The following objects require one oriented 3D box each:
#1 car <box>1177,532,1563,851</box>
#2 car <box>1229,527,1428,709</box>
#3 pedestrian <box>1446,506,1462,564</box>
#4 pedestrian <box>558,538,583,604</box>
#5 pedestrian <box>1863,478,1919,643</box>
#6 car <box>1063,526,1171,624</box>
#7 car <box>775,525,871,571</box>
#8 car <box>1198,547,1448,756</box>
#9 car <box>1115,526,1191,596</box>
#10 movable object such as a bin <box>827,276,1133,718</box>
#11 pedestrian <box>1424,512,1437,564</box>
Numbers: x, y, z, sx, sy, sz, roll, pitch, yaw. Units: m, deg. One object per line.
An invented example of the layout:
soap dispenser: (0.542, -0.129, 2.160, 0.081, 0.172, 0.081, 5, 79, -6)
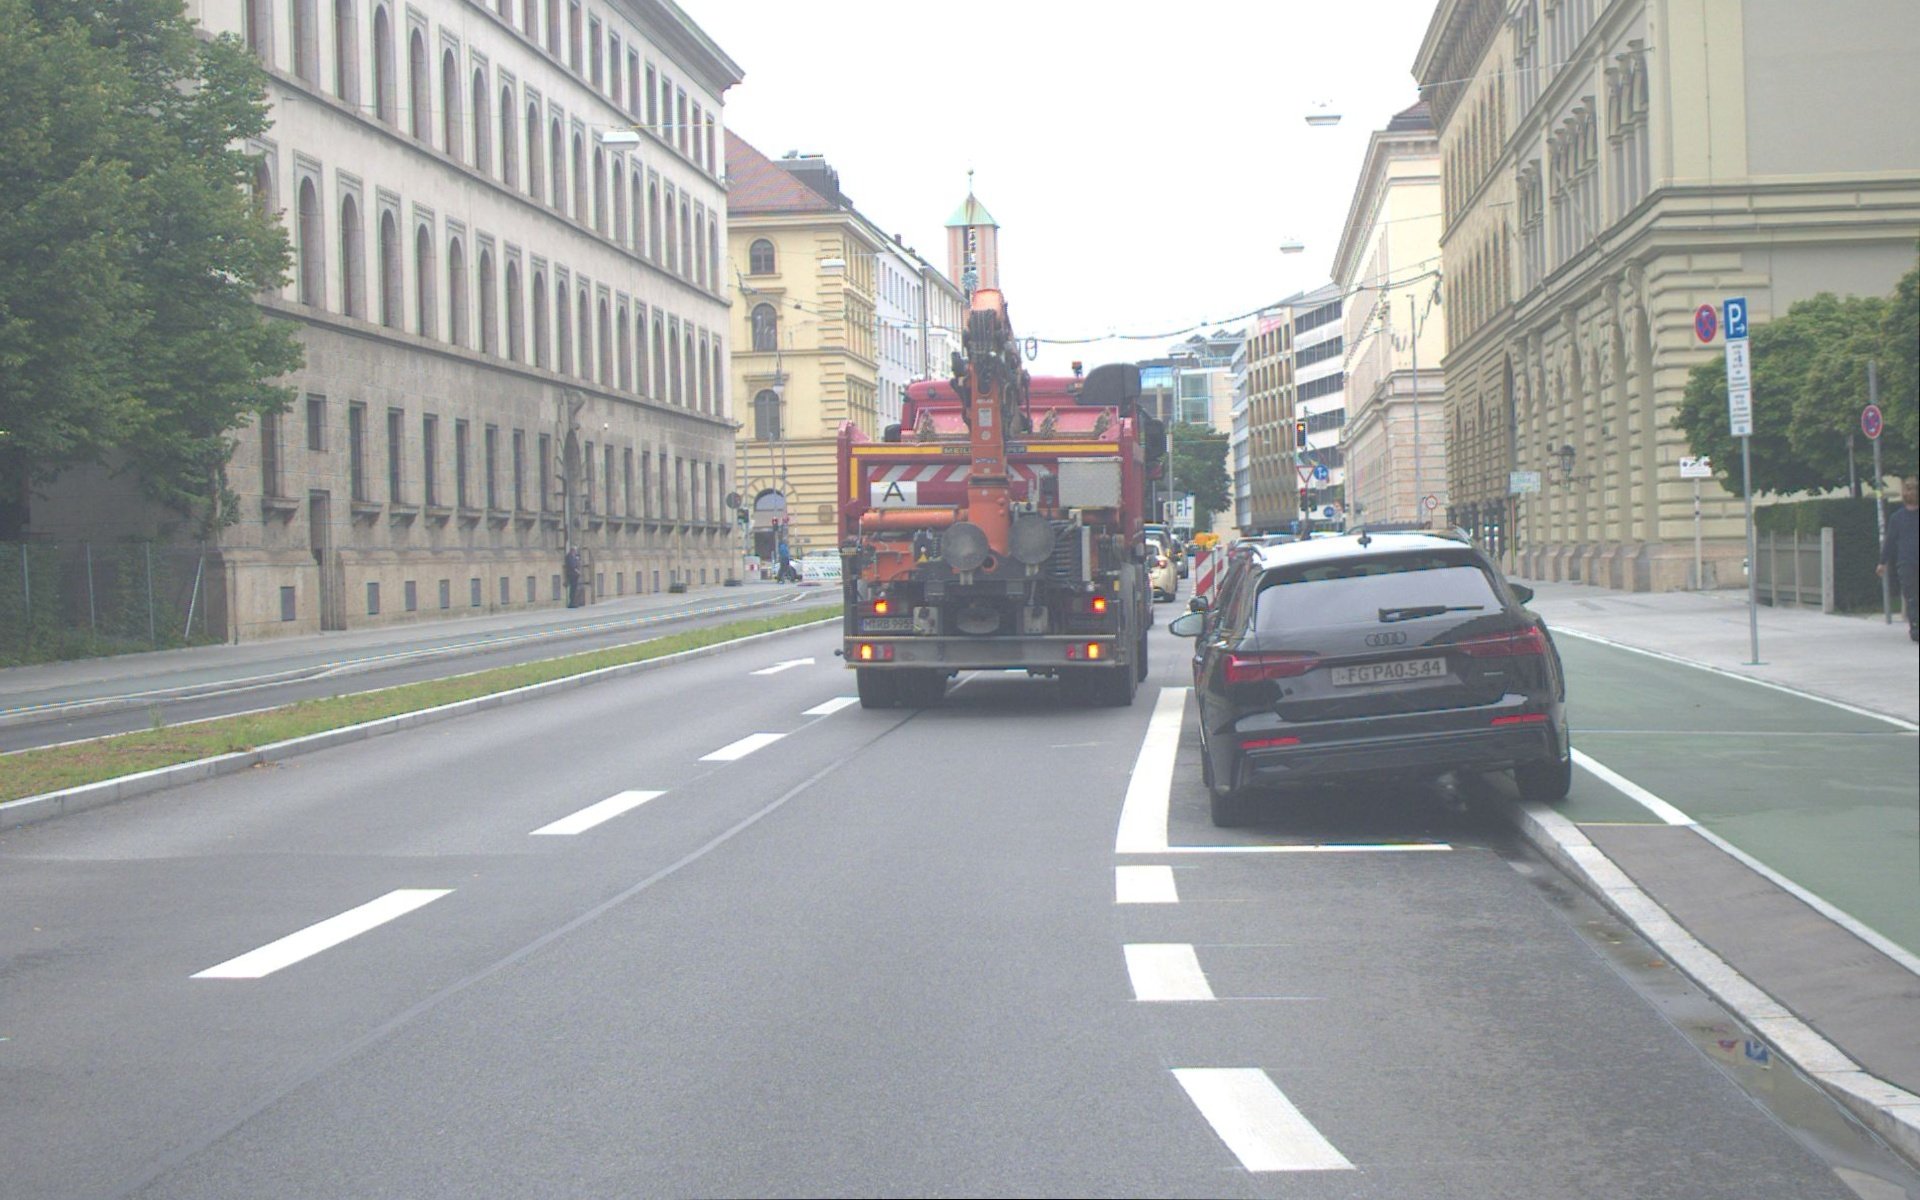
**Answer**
car: (2.142, 0.404, 19.091, 1.802, 1.475, 4.687, -2, 1, 3)
car: (3.249, 0.120, 30.782, 1.610, 1.490, 3.424, -2, 1, 4)
pedestrian: (15.820, -2.092, 110.137, 0.446, 1.830, 0.556, -2, 1, 6)
pedestrian: (-10.901, -0.822, 96.261, 0.589, 1.825, 0.499, -1, 1, 3)
pedestrian: (10.670, -0.456, 38.768, 0.790, 1.830, 0.777, -2, 1, 6)
car: (2.564, -0.430, 55.668, 1.610, 1.490, 3.424, -2, 1, 4)
car: (-6.161, -2.330, 154.471, 3.988, 1.941, 2.000, -2, 1, 6)
car: (2.627, 0.317, 25.555, 1.680, 1.381, 4.426, 0, 1, 4)
car: (4.382, -0.892, 77.715, 1.610, 1.490, 3.424, -2, 1, 4)
movable object such as a bin: (0.306, -0.905, 31.234, 2.423, 3.599, 5.851, -1, 1, 3)
pedestrian: (15.092, -1.988, 110.226, 0.337, 1.666, 0.440, -2, 1, 6)
